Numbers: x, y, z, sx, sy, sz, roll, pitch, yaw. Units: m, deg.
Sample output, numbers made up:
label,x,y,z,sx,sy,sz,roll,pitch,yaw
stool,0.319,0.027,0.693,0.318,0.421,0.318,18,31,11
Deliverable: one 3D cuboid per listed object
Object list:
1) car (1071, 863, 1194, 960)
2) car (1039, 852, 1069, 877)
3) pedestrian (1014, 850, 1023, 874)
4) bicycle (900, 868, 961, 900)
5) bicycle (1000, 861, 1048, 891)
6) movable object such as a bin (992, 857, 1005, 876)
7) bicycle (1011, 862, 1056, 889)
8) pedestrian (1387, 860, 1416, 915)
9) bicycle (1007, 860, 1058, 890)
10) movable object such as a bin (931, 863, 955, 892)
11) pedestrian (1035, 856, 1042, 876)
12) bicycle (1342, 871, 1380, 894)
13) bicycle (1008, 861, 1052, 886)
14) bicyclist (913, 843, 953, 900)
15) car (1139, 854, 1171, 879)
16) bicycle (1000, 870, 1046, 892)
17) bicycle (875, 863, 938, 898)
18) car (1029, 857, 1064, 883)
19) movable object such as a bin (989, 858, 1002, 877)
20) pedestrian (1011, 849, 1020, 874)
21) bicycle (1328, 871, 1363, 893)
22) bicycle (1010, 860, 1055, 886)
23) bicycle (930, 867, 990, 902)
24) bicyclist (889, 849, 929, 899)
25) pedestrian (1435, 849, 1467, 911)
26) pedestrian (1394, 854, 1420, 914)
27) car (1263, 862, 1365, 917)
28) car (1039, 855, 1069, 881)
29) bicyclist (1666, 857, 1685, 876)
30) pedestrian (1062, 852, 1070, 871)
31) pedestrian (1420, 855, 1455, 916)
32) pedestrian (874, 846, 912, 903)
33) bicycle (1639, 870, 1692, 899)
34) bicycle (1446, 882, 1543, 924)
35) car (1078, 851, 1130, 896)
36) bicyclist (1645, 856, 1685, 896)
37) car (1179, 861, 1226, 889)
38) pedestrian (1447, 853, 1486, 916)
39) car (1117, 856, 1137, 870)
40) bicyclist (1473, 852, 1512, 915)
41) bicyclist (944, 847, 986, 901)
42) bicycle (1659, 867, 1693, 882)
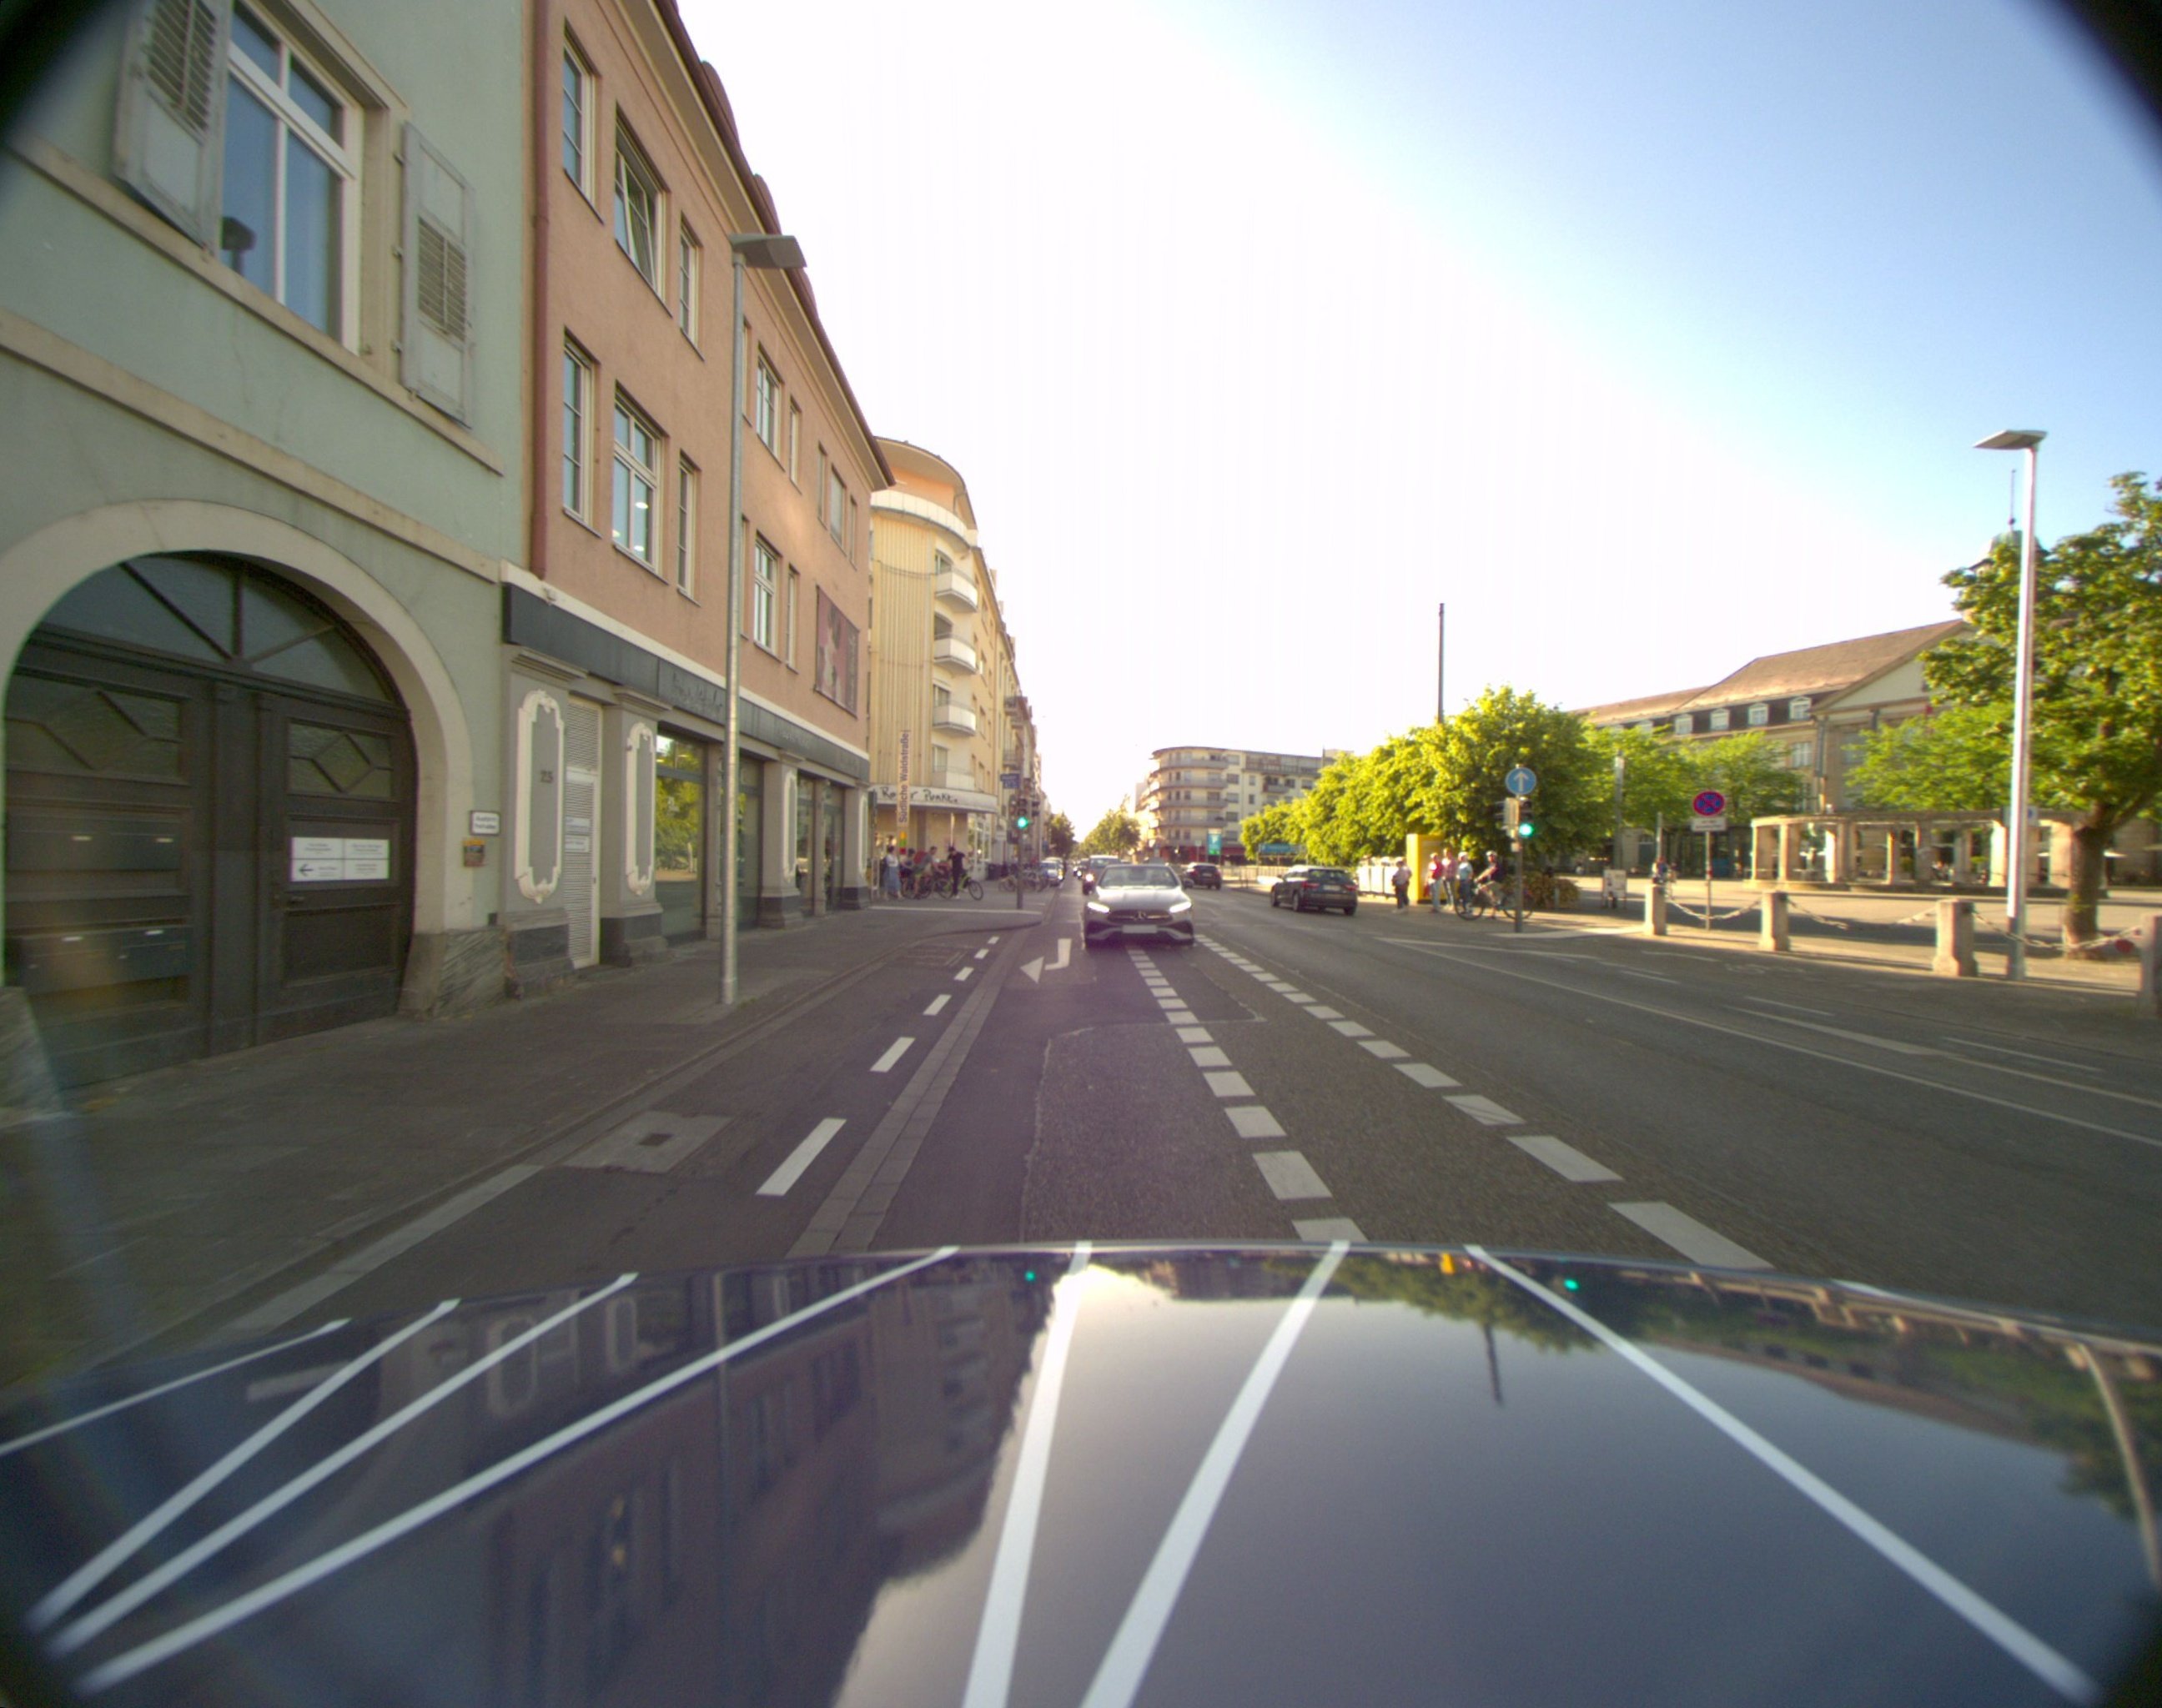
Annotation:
label,x,y,z,sx,sy,sz,roll,pitch,yaw
car,0.865,0.939,14.141,1.910,1.453,4.364,-1,0,1
car,-2.169,0.802,59.745,2.000,1.867,3.997,1,0,-7
pedestrian,-4.967,0.635,60.673,0.694,1.895,0.906,1,0,-4
bicycle,-4.705,0.936,23.786,1.823,0.988,0.564,1,0,-16
bicycle,-2.391,0.920,31.896,1.946,1.205,0.933,1,0,-6
movable object such as a bin,-5.299,0.809,48.754,0.703,1.232,0.960,1,0,0
bicycle,-2.132,0.946,34.153,1.962,1.150,0.755,1,0,0
pedestrian,9.818,1.011,23.254,0.686,1.664,0.699,1,0,31
bicycle,-2.100,0.904,32.887,2.142,1.237,0.710,1,0,-5
movable object such as a bin,-5.364,0.902,29.620,0.810,1.106,0.620,1,0,-2
pedestrian,-3.990,1.100,71.385,0.694,1.895,0.906,1,0,-4
bicycle,12.780,1.296,34.700,1.559,0.996,0.364,1,0,-1
bicycle,-2.423,0.940,36.532,2.049,1.174,0.683,1,0,0
bicyclist,-4.637,0.556,23.813,1.142,1.751,0.752,1,0,-16
car,6.269,1.012,64.887,1.999,1.935,4.782,4,0,-1
bicycle,-2.384,1.108,31.331,1.848,0.826,0.741,1,0,-6
bicycle,-5.715,0.843,24.845,1.915,1.090,0.735,1,0,21
car,-1.915,0.848,42.954,1.693,1.390,4.000,1,0,1
movable object such as a bin,-5.268,0.842,46.986,0.703,1.153,0.960,1,0,0
pedestrian,-5.282,0.604,61.415,0.673,1.942,0.615,1,0,-4
bicycle,12.745,1.329,36.605,1.529,1.025,0.364,1,0,14
bicycle,-2.270,0.901,35.464,2.026,1.143,0.715,2,0,0
bicycle,-3.944,0.978,24.720,1.910,1.014,0.561,2,1,27
bicyclist,-5.602,0.632,24.793,1.028,1.574,0.727,1,0,22
pedestrian,11.694,0.804,24.010,0.609,1.907,0.784,1,0,1
pedestrian,10.224,0.935,23.812,0.650,1.846,0.626,1,0,31
car,7.026,1.021,23.344,1.655,1.389,4.042,4,0,-2
car,-1.915,0.956,53.558,1.999,1.724,4.198,1,0,-3
bicyclist,45.950,0.967,58.685,0.952,1.463,0.647,0,0,-1
pedestrian,-1.483,0.740,75.481,0.610,1.912,0.714,1,0,12
pedestrian,10.822,0.951,23.046,0.591,1.801,0.781,0,1,-45
pedestrian,-5.585,0.594,22.583,0.813,1.649,0.768,1,0,36
bicycle,24.134,1.233,31.441,0.941,1.126,2.482,1,0,18
bicycle,11.068,1.319,20.417,2.171,1.065,0.765,-2,-1,21
car,0.885,0.753,31.217,1.998,1.717,4.000,1,0,0
bicyclist,24.110,0.911,31.391,0.941,1.599,1.172,1,0,18
car,6.851,1.161,43.234,1.754,1.415,4.253,3,0,-3
pedestrian,11.316,0.890,22.305,0.590,1.801,0.782,1,0,-26
car,5.335,1.013,87.706,1.846,1.538,4.239,3,0,-2
bicyclist,11.022,0.773,20.389,0.803,1.639,0.995,0,0,21
bicyclist,-3.743,0.628,24.540,1.129,1.675,0.727,1,0,27
bicycle,45.936,1.571,58.666,2.123,1.097,0.697,1,0,-1
